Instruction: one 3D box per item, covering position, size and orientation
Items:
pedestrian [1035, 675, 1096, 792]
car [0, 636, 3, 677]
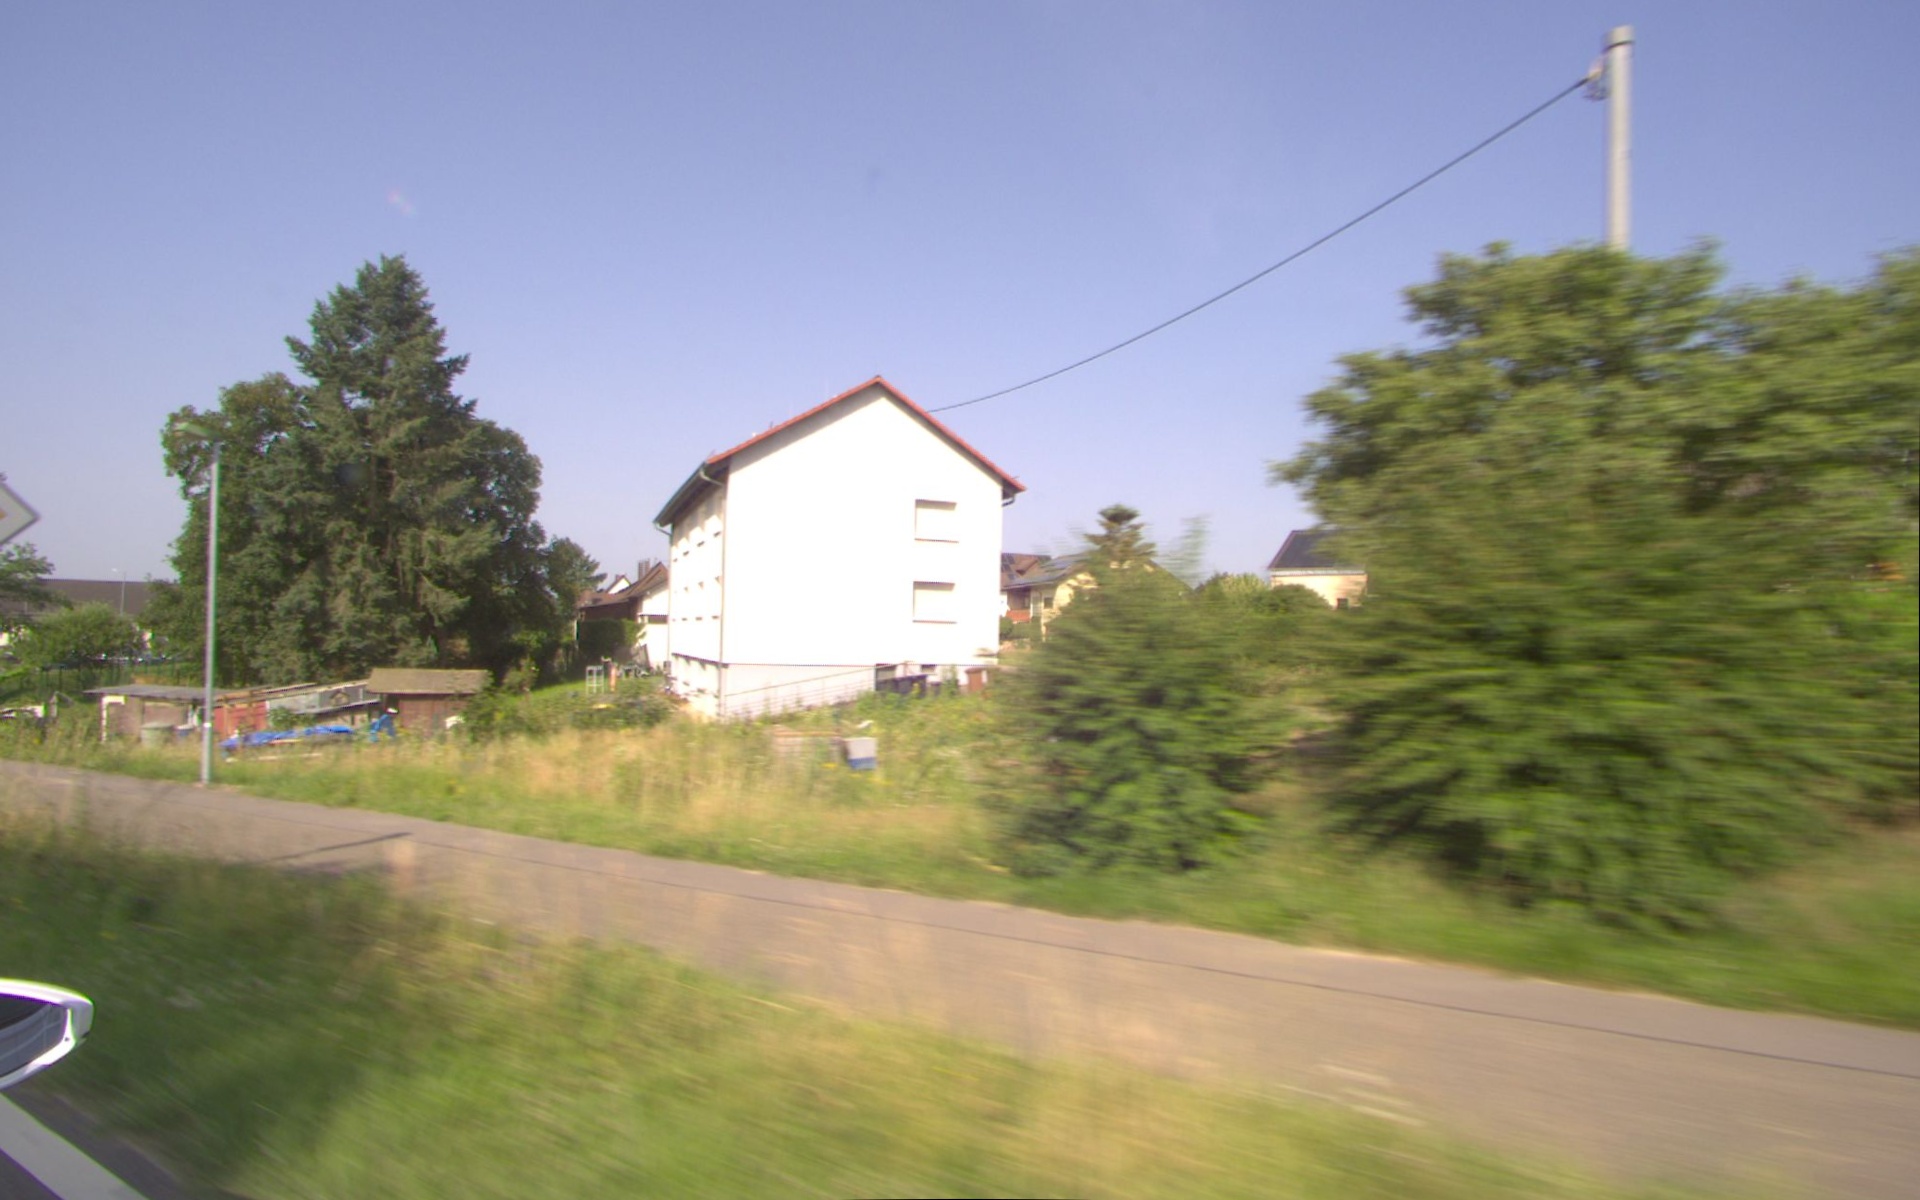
[{"bbox_3d":[1.564,1.966,14.830,0.682,1.635,0.455,-6,-3,16],"label":"pedestrian"},{"bbox_3d":[-66.908,3.710,65.507,5.690,2.701,2.401,1,-2,-22],"label":"car"}]
